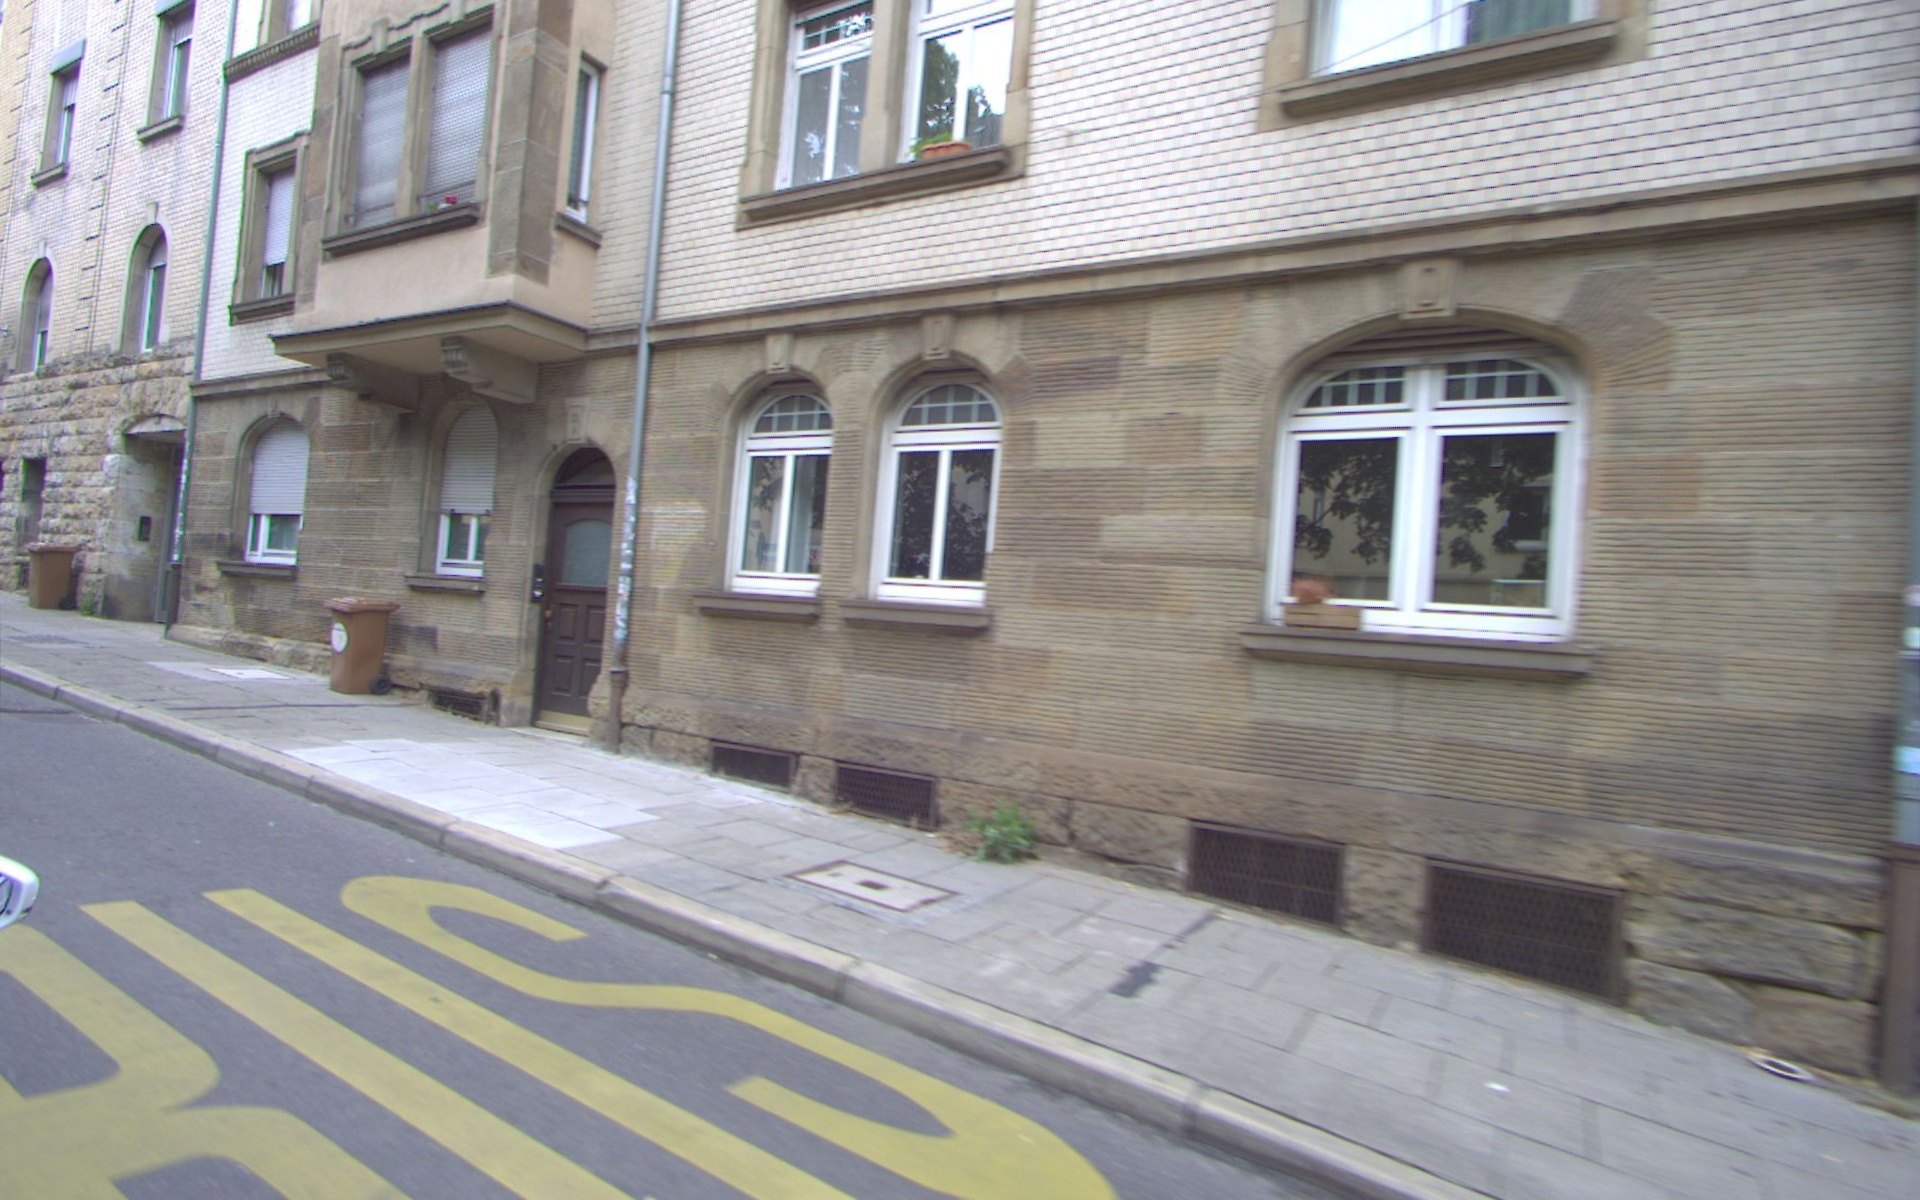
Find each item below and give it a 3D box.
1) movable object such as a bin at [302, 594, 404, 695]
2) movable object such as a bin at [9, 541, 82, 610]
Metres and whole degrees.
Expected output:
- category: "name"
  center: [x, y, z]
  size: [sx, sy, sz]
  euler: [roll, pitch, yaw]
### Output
- category: "movable object such as a bin"
  center: [-6.054, 0.448, 10.049]
  size: [0.553, 0.914, 0.595]
  euler: [6, -2, 31]
- category: "movable object such as a bin"
  center: [-13.117, -0.342, 14.438]
  size: [0.495, 0.914, 0.595]
  euler: [2, -4, 31]
